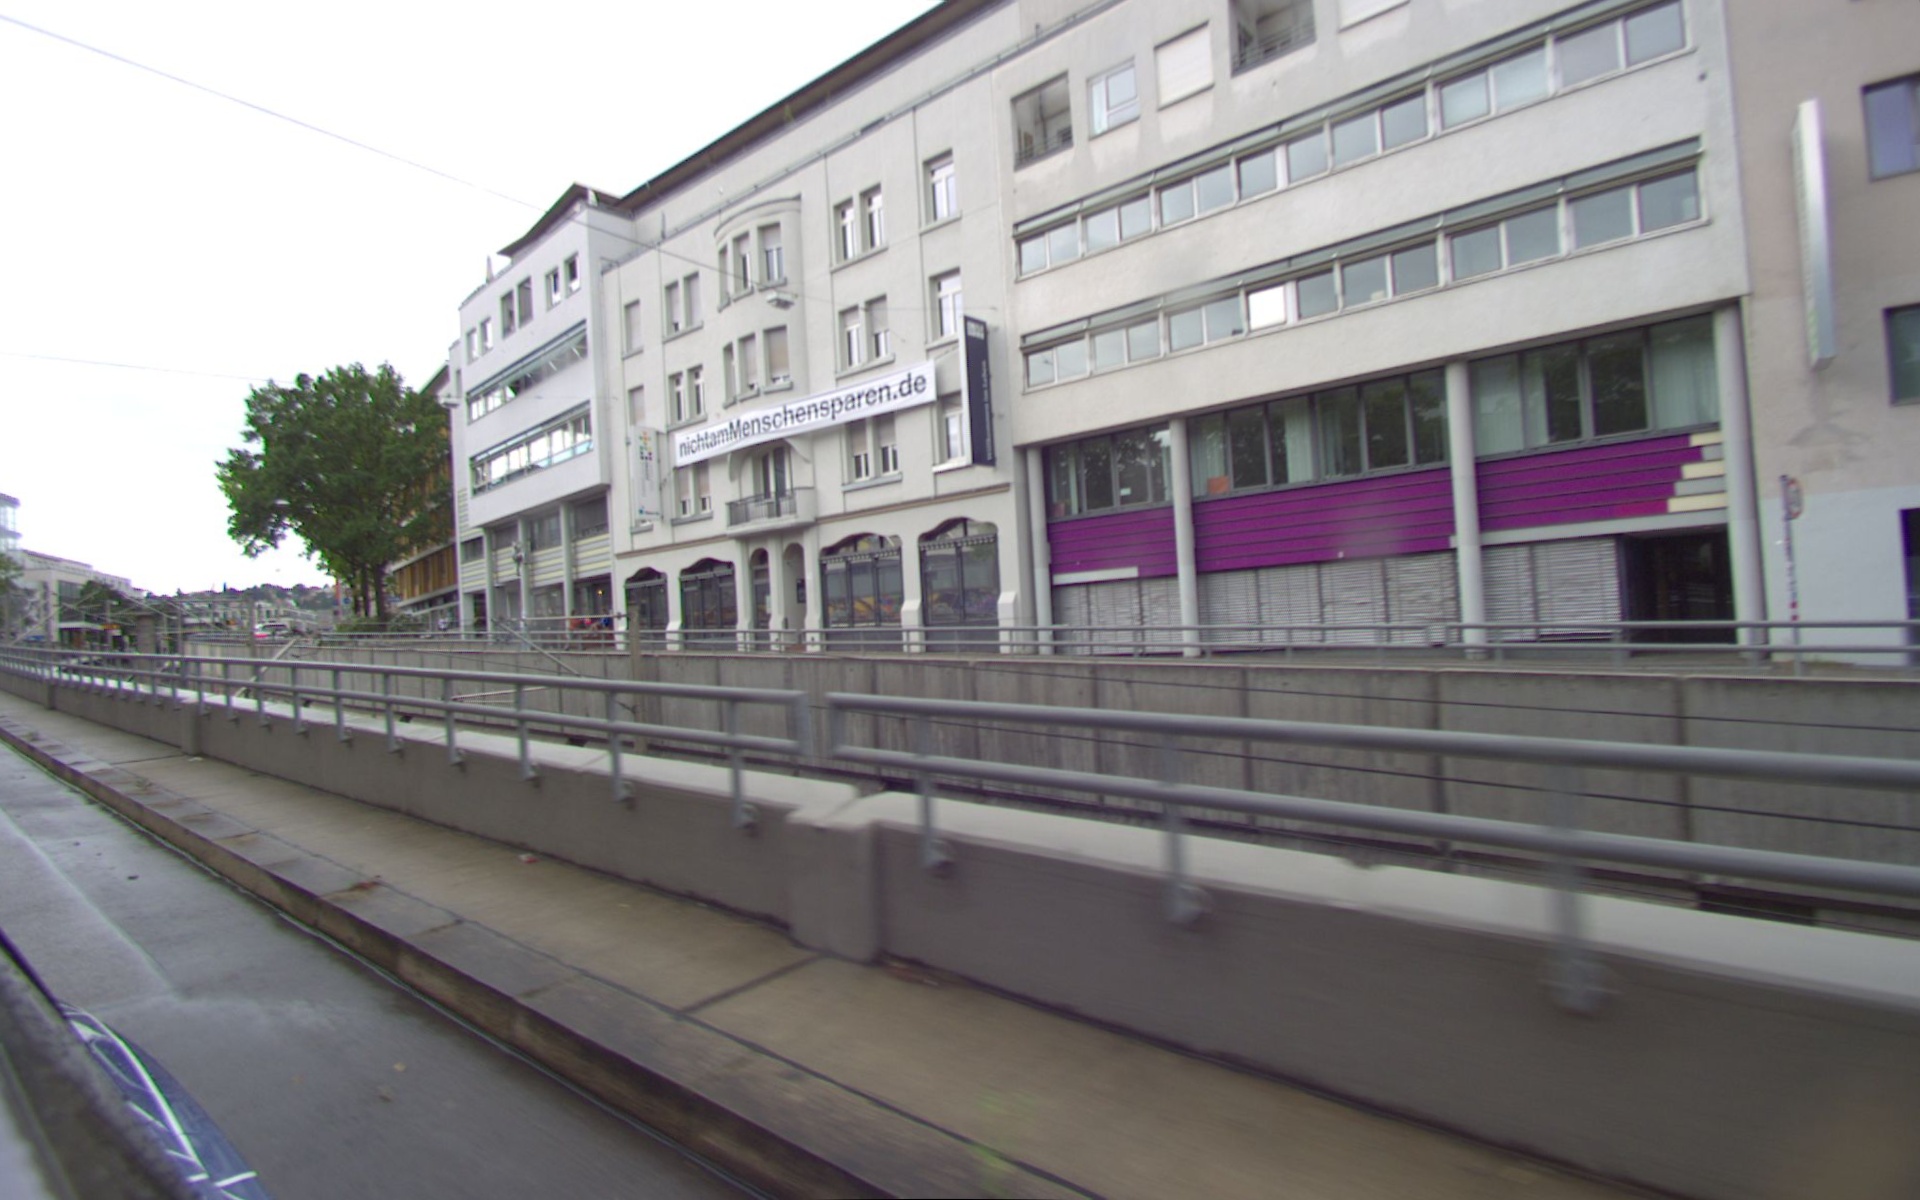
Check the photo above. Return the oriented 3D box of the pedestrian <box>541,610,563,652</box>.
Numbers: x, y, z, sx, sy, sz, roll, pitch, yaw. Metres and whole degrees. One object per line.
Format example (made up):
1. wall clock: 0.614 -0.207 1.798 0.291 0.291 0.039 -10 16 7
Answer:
1. pedestrian: -17.472 1.325 43.367 0.601 1.735 0.673 -2 -1 1

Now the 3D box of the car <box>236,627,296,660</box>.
1. car: -38.819 2.435 56.572 4.577 1.726 1.816 -3 -1 43

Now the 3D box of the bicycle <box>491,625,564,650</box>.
1. bicycle: -20.613 1.760 48.174 1.673 1.051 4.525 -1 0 -44

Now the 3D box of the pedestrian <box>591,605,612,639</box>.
1. pedestrian: -15.840 0.976 44.675 0.600 1.430 0.674 -2 -1 -44

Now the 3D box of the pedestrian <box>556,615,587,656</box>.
1. pedestrian: -15.806 1.433 41.191 0.937 1.628 0.667 -3 -1 26

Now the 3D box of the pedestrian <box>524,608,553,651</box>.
1. pedestrian: -18.389 1.285 44.169 0.937 1.798 0.667 -3 -1 26

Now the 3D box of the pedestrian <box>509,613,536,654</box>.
1. pedestrian: -18.508 1.413 42.821 0.784 1.655 0.674 -2 -1 -2

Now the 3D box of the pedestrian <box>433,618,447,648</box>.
1. pedestrian: -33.450 2.129 65.080 0.657 1.863 0.831 1 -3 -40
